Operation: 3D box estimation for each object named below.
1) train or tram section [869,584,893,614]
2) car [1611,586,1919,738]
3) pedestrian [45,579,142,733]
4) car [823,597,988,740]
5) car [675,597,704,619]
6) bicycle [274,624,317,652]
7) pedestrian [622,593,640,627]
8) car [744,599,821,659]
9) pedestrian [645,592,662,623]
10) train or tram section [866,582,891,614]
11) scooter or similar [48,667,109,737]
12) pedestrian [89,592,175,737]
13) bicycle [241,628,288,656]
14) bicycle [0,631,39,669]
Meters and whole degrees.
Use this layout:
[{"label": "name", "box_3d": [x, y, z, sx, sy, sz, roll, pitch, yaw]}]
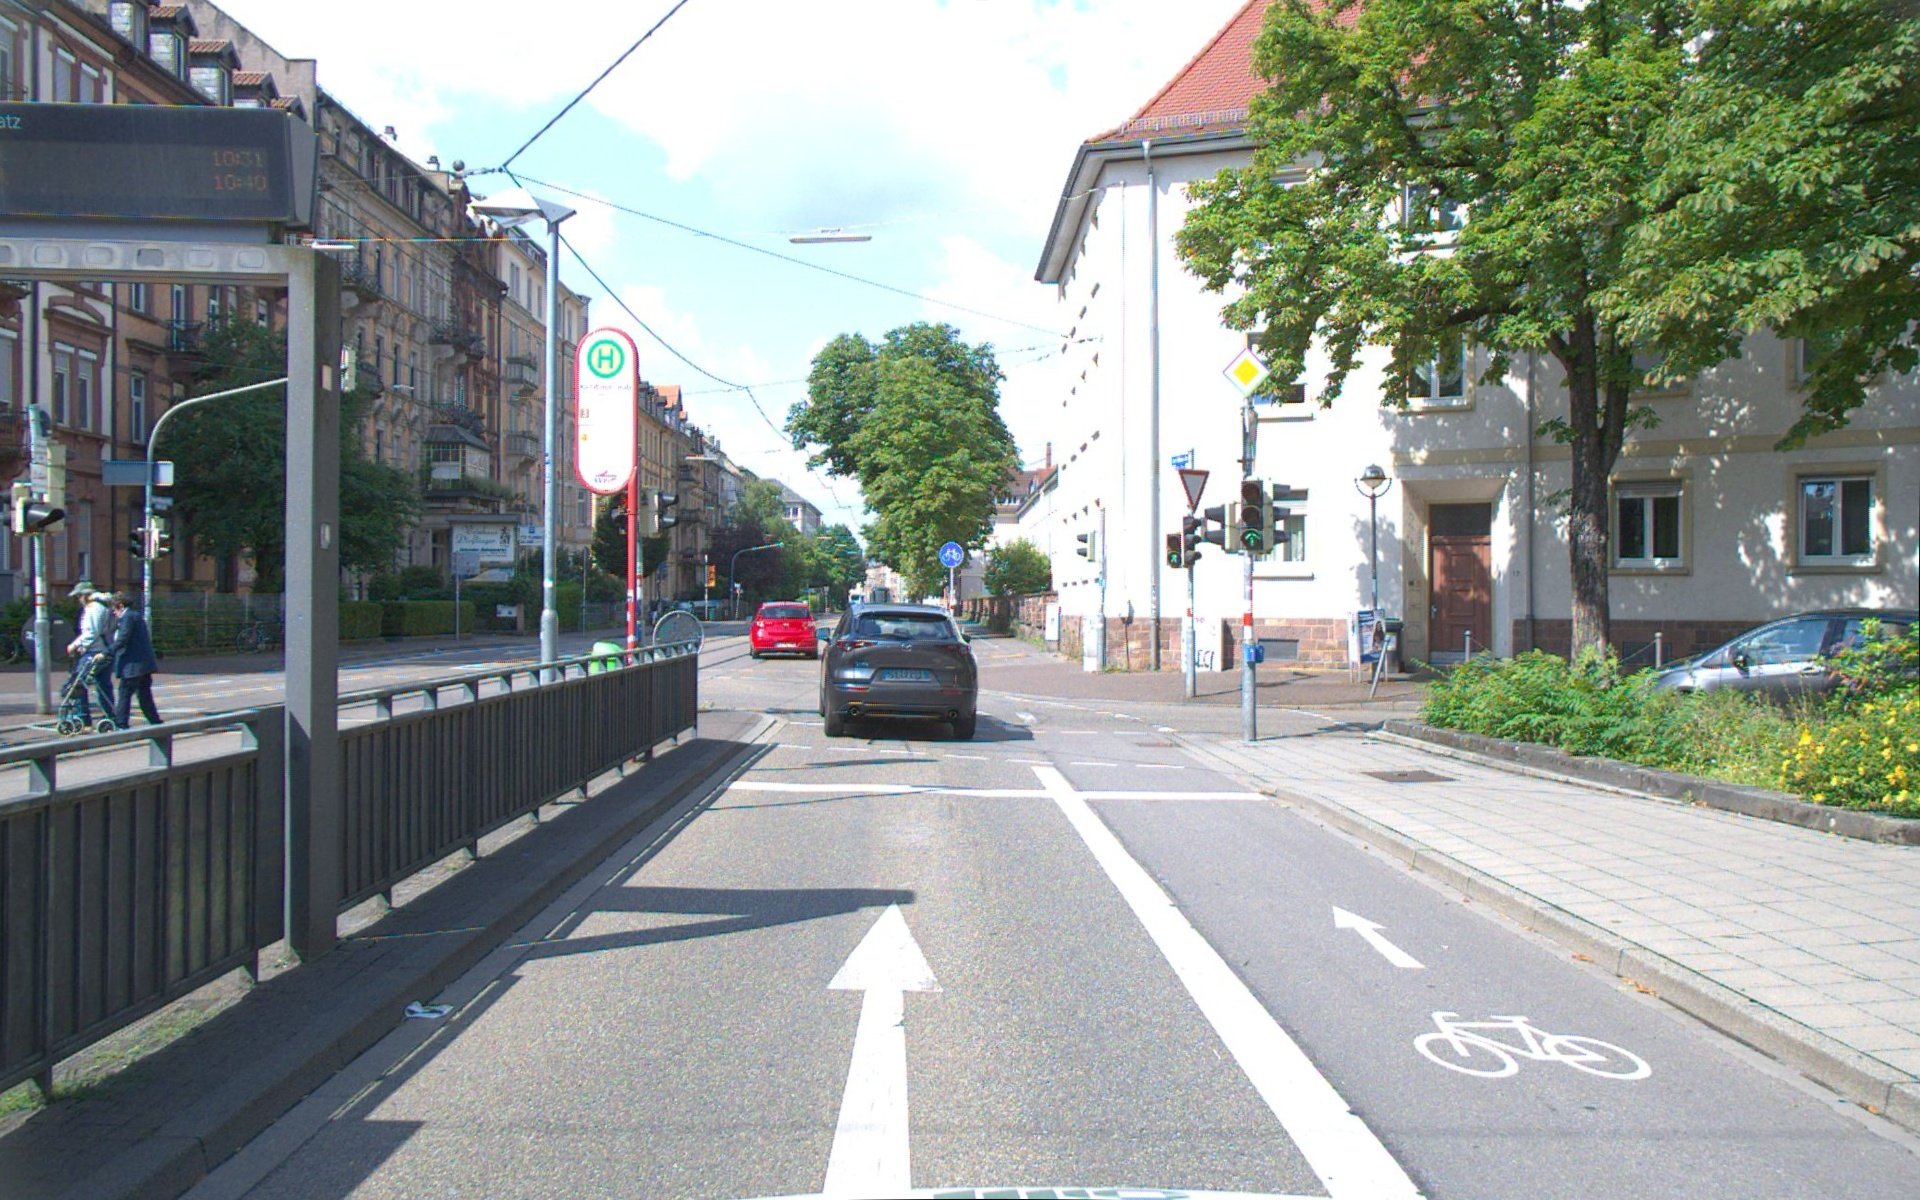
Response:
[{"label": "train or tram section", "box_3d": [-10.991, -0.058, 231.422, 2.937, 4.053, 13.804, 0, -1, -1]}, {"label": "car", "box_3d": [9.651, 0.629, 18.434, 4.096, 1.536, 1.841, 0, 1, 41]}, {"label": "pedestrian", "box_3d": [-9.788, 0.623, 18.706, 0.755, 1.704, 0.667, 0, 0, -2]}, {"label": "car", "box_3d": [-0.769, 0.767, 20.435, 1.748, 1.540, 3.995, 2, 0, -5]}, {"label": "car", "box_3d": [-20.148, 0.563, 123.158, 1.623, 1.624, 3.928, 0, 0, -2]}, {"label": "bicycle", "box_3d": [-17.890, 1.014, 44.555, 0.377, 0.689, 1.712, 0, 0, 3]}, {"label": "pedestrian", "box_3d": [-16.571, 0.509, 83.278, 0.771, 1.718, 0.732, 0, 0, 0]}, {"label": "car", "box_3d": [-4.787, 0.743, 44.240, 1.743, 1.489, 3.832, 2, 0, -11]}, {"label": "pedestrian", "box_3d": [-17.030, 0.392, 91.837, 0.771, 1.718, 0.732, 0, 0, 0]}, {"label": "train or tram section", "box_3d": [-10.711, -0.200, 217.582, 2.937, 4.053, 13.804, 0, -1, -1]}, {"label": "scooter or similar", "box_3d": [-9.667, 1.110, 18.145, 0.405, 0.733, 0.486, 0, 0, -2]}, {"label": "pedestrian", "box_3d": [-9.134, 0.700, 18.261, 0.654, 1.573, 0.580, 0, 0, -2]}, {"label": "bicycle", "box_3d": [-17.793, 1.059, 42.350, 0.377, 0.664, 1.712, 0, 0, 3]}, {"label": "bicycle", "box_3d": [-19.872, 1.038, 33.954, 0.378, 0.760, 1.705, 0, 0, 34]}]
